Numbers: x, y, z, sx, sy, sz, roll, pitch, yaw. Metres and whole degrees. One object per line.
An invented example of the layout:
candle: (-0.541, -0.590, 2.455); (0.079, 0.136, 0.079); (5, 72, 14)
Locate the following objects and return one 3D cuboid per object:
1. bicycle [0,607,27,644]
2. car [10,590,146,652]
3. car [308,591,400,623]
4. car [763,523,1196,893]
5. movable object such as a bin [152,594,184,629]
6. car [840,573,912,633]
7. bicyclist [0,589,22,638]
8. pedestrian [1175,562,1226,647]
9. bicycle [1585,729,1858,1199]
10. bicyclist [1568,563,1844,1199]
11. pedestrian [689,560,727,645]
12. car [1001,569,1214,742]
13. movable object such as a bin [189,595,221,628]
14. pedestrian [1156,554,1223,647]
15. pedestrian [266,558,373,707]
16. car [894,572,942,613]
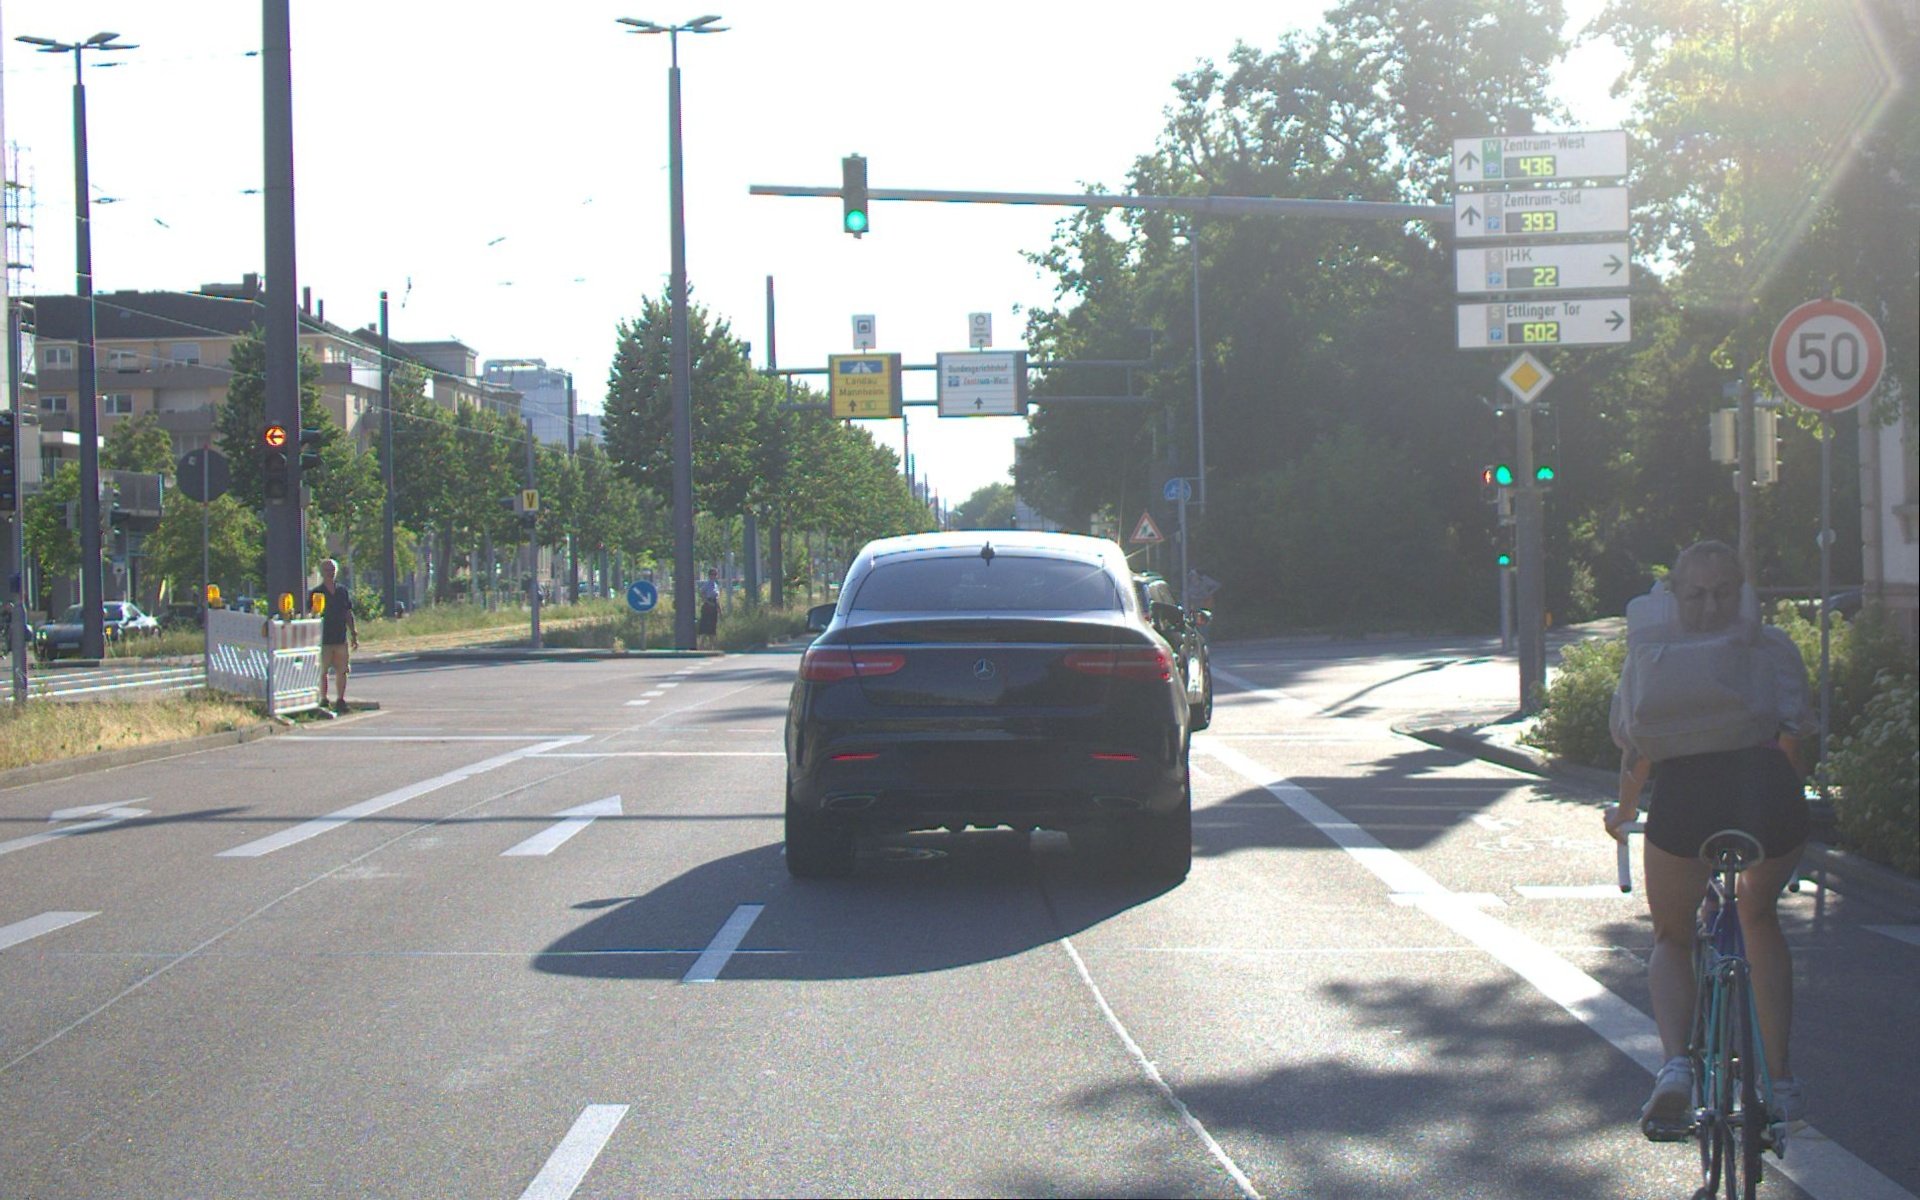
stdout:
bicycle: (-28.273, 0.748, 101.902); (0.625, 1.063, 2.078); (-1, 0, 2)
car: (-20.577, 0.472, 80.383); (1.891, 1.339, 4.850); (-1, 1, 0)
car: (-29.869, 0.334, 169.527); (3.988, 1.557, 1.999); (0, 1, -41)
car: (0.224, 0.465, 18.086); (1.994, 1.728, 4.000); (0, 1, 4)
movable object such as a bin: (-31.205, 0.437, 135.524); (0.858, 1.353, 0.939); (-1, 0, 15)
car: (-2.312, 0.071, 95.491); (1.886, 1.575, 4.000); (0, 1, 0)
bicyclist: (-28.273, 0.400, 101.918); (0.625, 1.460, 0.851); (-1, 0, 2)
pedestrian: (4.746, 0.090, 67.910); (0.766, 1.631, 0.770); (-3, 0, -8)
bicycle: (1.712, 0.894, 7.803); (0.521, 1.093, 1.842); (-1, 1, 11)
bicyclist: (1.698, 0.668, 7.856); (0.552, 1.486, 1.081); (-1, 1, 12)
pedestrian: (-5.104, 0.046, 69.685); (0.598, 1.693, 0.714); (-1, 0, 6)
car: (1.444, 0.485, 32.868); (1.897, 1.522, 4.058); (-1, 1, 4)
movable object such as a bin: (-29.813, 0.439, 135.815); (0.858, 1.276, 0.939); (-1, 0, 15)
pedestrian: (4.588, 0.019, 68.759); (0.857, 1.796, 0.907); (-3, 1, -33)
pedestrian: (-7.218, 0.361, 38.782); (0.925, 1.643, 0.765); (-1, 0, 13)
car: (-1.714, -0.309, 140.313); (1.886, 1.575, 4.000); (0, 1, 0)
